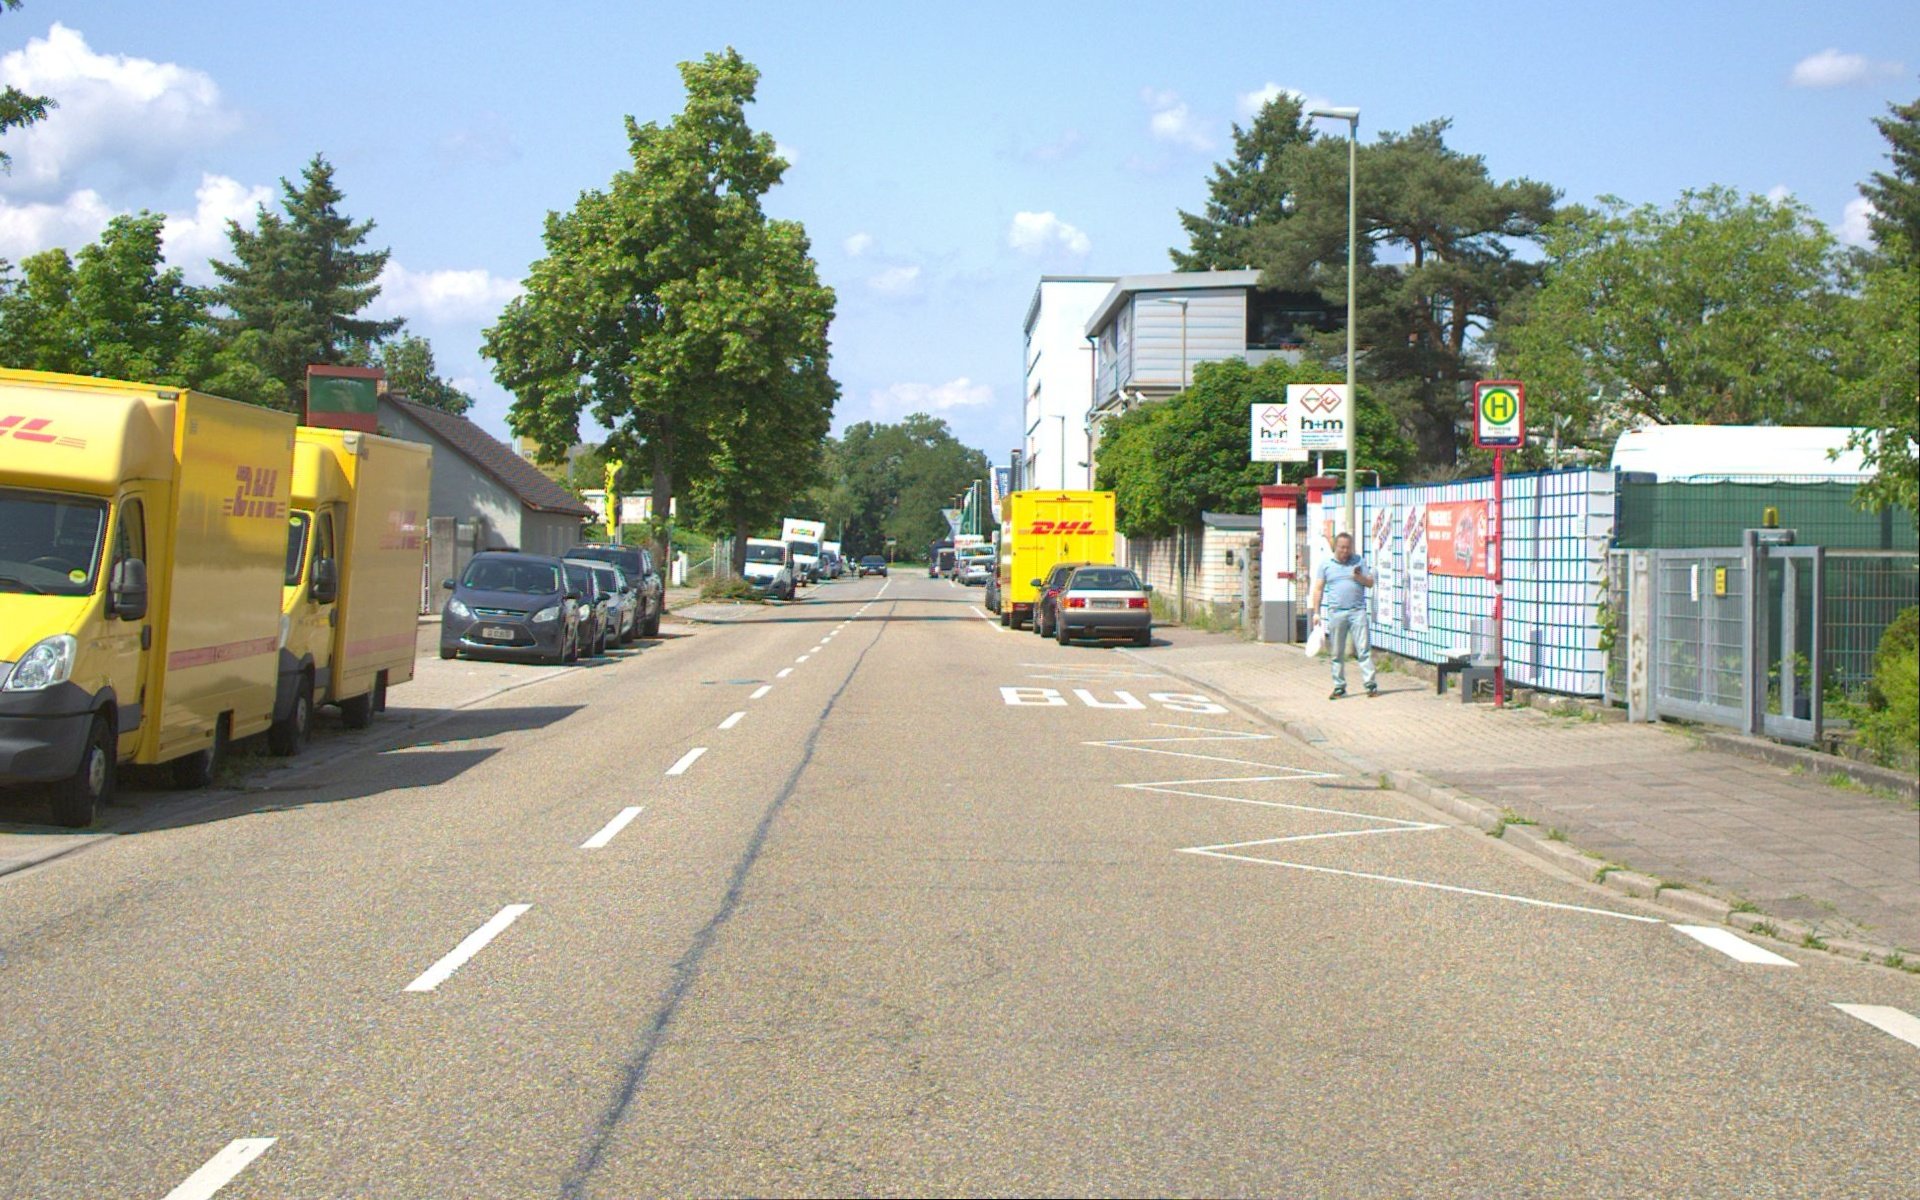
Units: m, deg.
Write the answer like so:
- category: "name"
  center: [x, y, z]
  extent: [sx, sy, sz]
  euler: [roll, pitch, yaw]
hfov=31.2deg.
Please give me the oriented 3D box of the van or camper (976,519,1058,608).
- category: "van or camper"
  center: [1.531, -1.010, 93.741]
  extent: [1.993, 2.283, 5.448]
  euler: [2, 1, -1]

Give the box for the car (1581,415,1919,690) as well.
- category: "car"
  center: [8.952, -0.465, 34.563]
  extent: [4.905, 2.643, 2.074]
  euler: [0, 1, -8]

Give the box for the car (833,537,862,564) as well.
- category: "car"
  center: [-7.149, -3.167, 218.841]
  extent: [1.713, 1.645, 4.000]
  euler: [0, 1, -1]

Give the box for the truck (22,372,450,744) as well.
- category: "truck"
  center: [-6.322, -0.394, 31.082]
  extent: [2.316, 2.853, 7.105]
  euler: [3, 1, -1]

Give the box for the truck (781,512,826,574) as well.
- category: "truck"
  center: [-8.099, -2.948, 178.220]
  extent: [2.029, 3.143, 6.500]
  euler: [0, 1, 0]

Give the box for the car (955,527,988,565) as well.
- category: "car"
  center: [0.644, -3.005, 190.341]
  extent: [1.707, 2.082, 4.000]
  euler: [0, 1, -1]

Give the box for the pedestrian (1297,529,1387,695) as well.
- category: "pedestrian"
  center: [4.038, 0.119, 36.371]
  extent: [0.715, 1.691, 0.522]
  euler: [-5, 1, -5]

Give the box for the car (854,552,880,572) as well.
- category: "car"
  center: [-6.309, -2.595, 233.193]
  extent: [1.654, 1.320, 4.417]
  euler: [0, 1, 0]

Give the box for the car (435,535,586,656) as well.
- category: "car"
  center: [-6.602, -0.095, 50.819]
  extent: [1.724, 1.598, 4.415]
  euler: [4, 1, -2]

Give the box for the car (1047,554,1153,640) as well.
- category: "car"
  center: [2.488, -0.080, 61.839]
  extent: [1.651, 1.382, 4.423]
  euler: [2, 1, 0]

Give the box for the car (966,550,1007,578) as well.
- category: "car"
  center: [1.264, -1.739, 166.101]
  extent: [1.928, 1.306, 4.000]
  euler: [0, 1, -1]

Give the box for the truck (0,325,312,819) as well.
- category: "truck"
  center: [-6.210, -0.214, 23.491]
  extent: [2.269, 2.845, 7.175]
  euler: [2, 0, -1]

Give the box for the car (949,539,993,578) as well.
- category: "car"
  center: [0.569, -2.171, 179.781]
  extent: [2.216, 2.007, 5.485]
  euler: [0, 1, 0]

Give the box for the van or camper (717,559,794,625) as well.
- category: "van or camper"
  center: [-7.862, -0.340, 132.896]
  extent: [2.174, 2.405, 7.697]
  euler: [1, 1, 3]

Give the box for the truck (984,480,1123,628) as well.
- category: "truck"
  center: [1.927, -0.994, 73.450]
  extent: [2.474, 2.930, 7.189]
  euler: [2, 1, -2]

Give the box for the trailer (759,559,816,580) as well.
- category: "trailer"
  center: [-8.193, -1.456, 163.738]
  extent: [2.417, 0.811, 5.537]
  euler: [3, 1, 0]

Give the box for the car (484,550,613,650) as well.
- category: "car"
  center: [-6.651, -0.030, 55.905]
  extent: [1.627, 1.443, 4.027]
  euler: [5, 1, -2]

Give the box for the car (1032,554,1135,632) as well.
- category: "car"
  center: [2.365, -0.156, 66.612]
  extent: [1.662, 1.436, 4.284]
  euler: [1, 1, -2]

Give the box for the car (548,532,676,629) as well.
- category: "car"
  center: [-6.802, -0.408, 67.677]
  extent: [1.919, 1.816, 4.785]
  euler: [1, 1, 1]

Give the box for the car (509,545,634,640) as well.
- category: "car"
  center: [-6.949, -0.165, 61.840]
  extent: [1.733, 1.513, 4.743]
  euler: [3, 1, -1]
